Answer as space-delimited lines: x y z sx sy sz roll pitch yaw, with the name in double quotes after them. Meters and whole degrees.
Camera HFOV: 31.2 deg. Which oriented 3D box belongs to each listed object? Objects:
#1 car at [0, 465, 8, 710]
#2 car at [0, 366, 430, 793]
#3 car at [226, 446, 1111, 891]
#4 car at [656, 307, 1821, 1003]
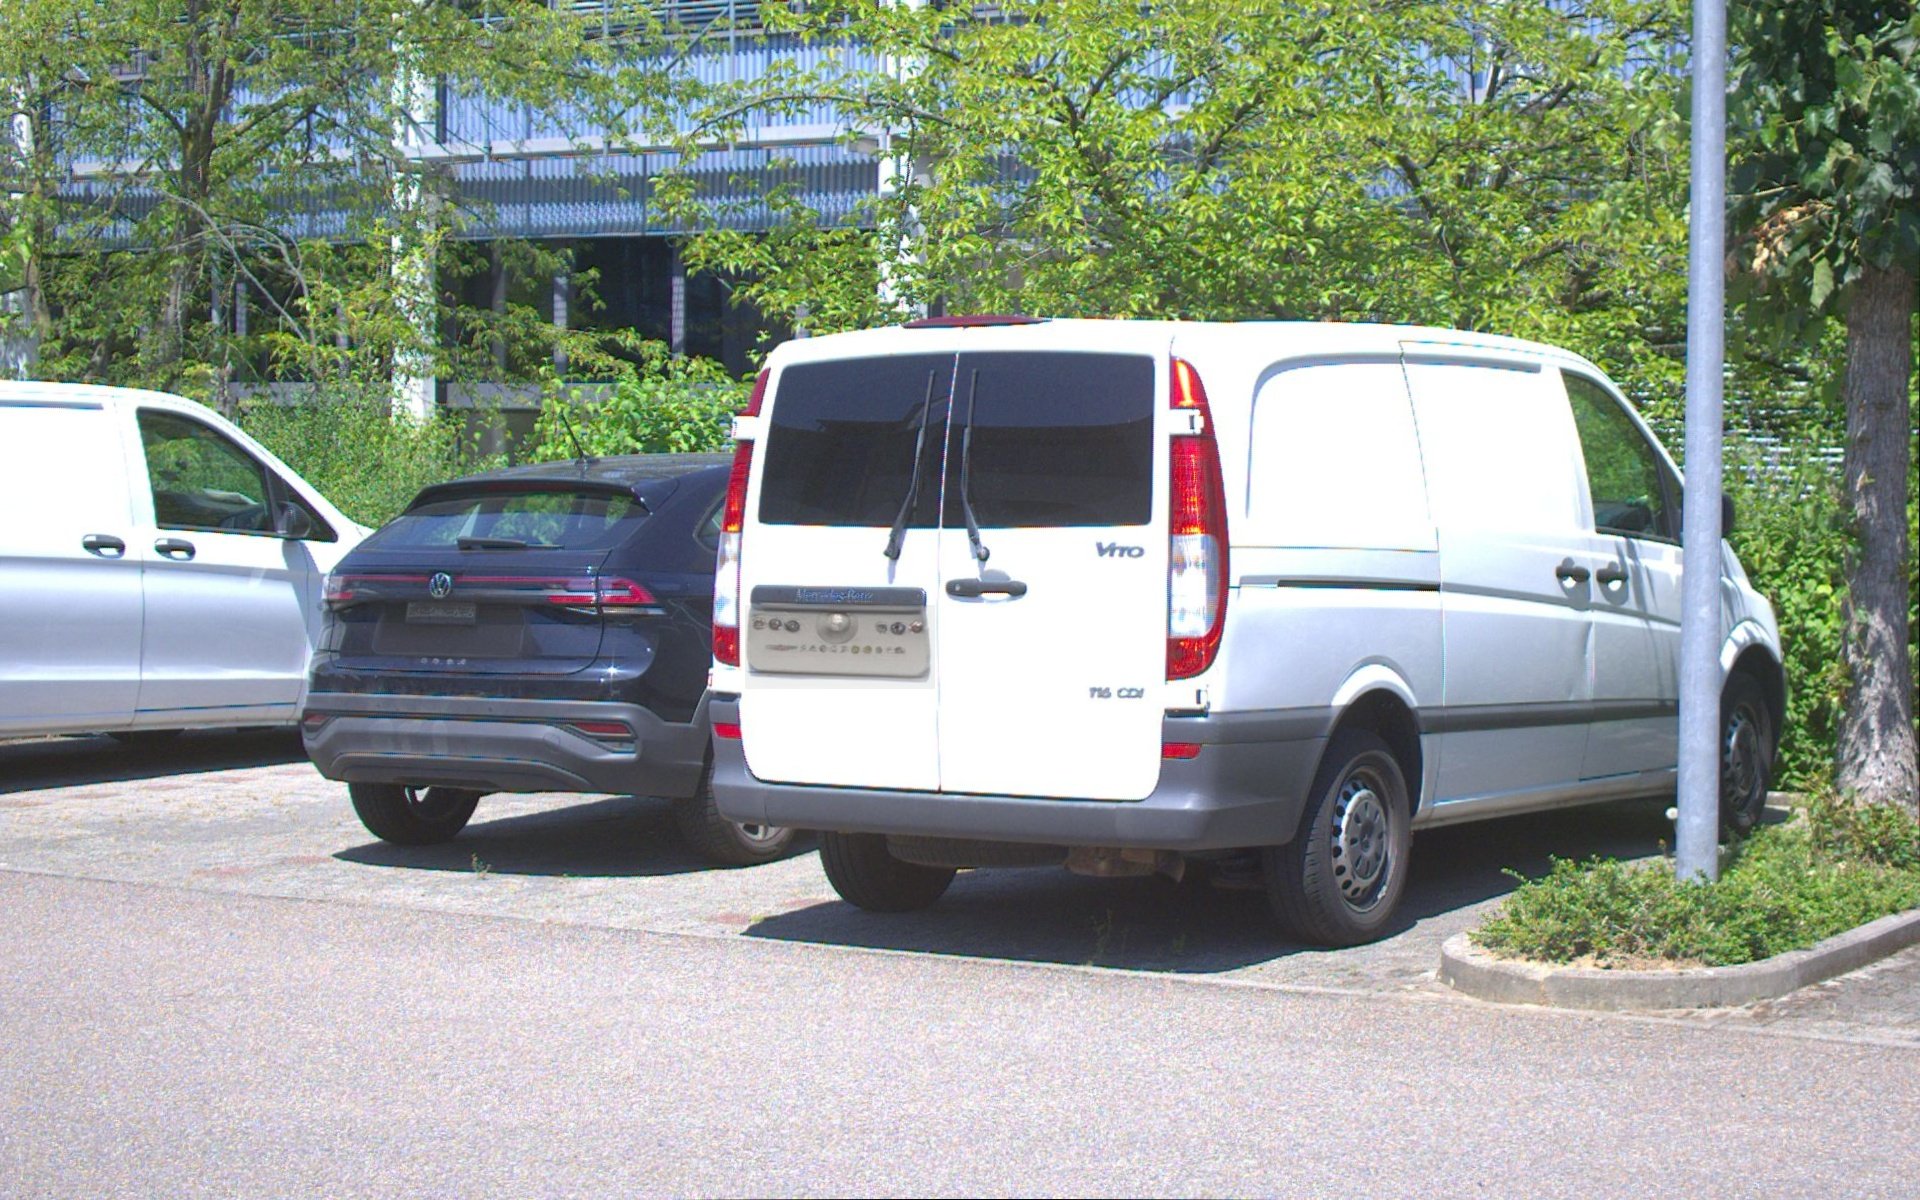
-7.512 -0.023 19.127 1.786 1.436 3.992 2 3 37 "car"
-4.859 -0.126 15.943 1.885 1.884 4.794 2 4 36 "car"
-0.988 0.146 13.881 1.757 1.471 3.995 1 3 26 "car"
1.216 0.025 11.889 1.917 1.898 4.799 1 3 34 "car"
